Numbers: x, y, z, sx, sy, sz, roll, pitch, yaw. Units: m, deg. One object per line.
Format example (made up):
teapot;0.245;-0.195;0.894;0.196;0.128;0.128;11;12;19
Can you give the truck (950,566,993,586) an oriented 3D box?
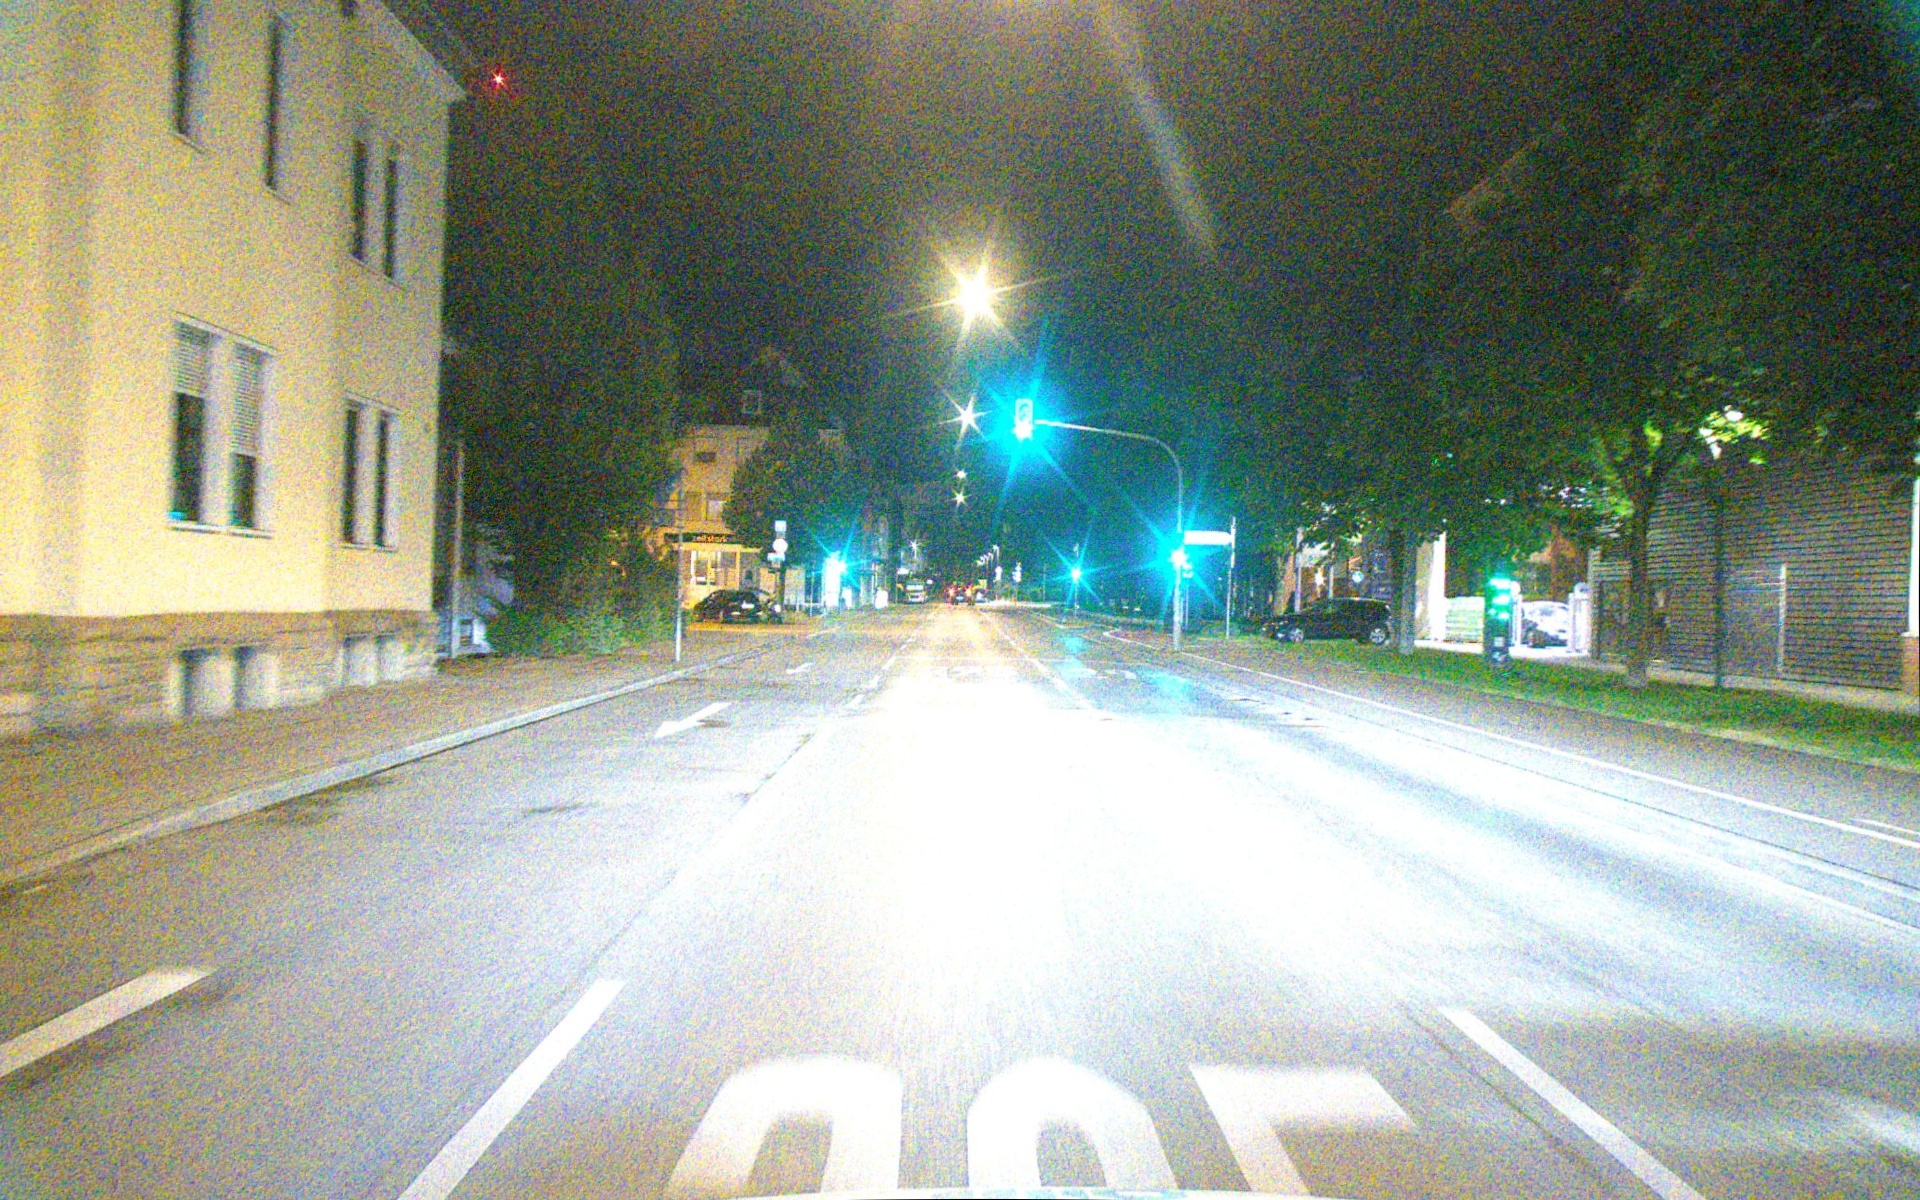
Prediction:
truck;1.792;-3.725;257.432;6.641;2.894;1.999;2;0;-3

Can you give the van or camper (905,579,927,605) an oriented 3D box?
van or camper;-4.463;-0.775;169.501;2.114;2.580;6.226;-1;0;-1

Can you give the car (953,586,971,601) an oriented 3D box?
car;0.210;-0.602;152.247;1.629;1.366;3.625;1;0;0

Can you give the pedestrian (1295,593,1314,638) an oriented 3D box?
pedestrian;14.296;0.640;68.569;0.609;1.843;0.759;1;0;0

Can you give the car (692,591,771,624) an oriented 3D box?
car;-10.321;0.317;74.379;1.868;1.449;4.679;0;0;-31

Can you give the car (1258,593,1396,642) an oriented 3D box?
car;11.655;0.557;52.693;3.998;1.480;1.786;1;0;-1

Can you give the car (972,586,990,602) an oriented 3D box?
car;2.334;-0.643;179.919;1.845;1.631;4.108;-1;0;2

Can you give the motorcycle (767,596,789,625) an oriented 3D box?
motorcycle;-7.820;0.433;71.187;0.562;1.200;2.022;1;0;-17

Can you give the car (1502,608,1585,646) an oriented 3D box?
car;19.148;0.874;54.432;1.428;1.189;3.539;2;0;-1
